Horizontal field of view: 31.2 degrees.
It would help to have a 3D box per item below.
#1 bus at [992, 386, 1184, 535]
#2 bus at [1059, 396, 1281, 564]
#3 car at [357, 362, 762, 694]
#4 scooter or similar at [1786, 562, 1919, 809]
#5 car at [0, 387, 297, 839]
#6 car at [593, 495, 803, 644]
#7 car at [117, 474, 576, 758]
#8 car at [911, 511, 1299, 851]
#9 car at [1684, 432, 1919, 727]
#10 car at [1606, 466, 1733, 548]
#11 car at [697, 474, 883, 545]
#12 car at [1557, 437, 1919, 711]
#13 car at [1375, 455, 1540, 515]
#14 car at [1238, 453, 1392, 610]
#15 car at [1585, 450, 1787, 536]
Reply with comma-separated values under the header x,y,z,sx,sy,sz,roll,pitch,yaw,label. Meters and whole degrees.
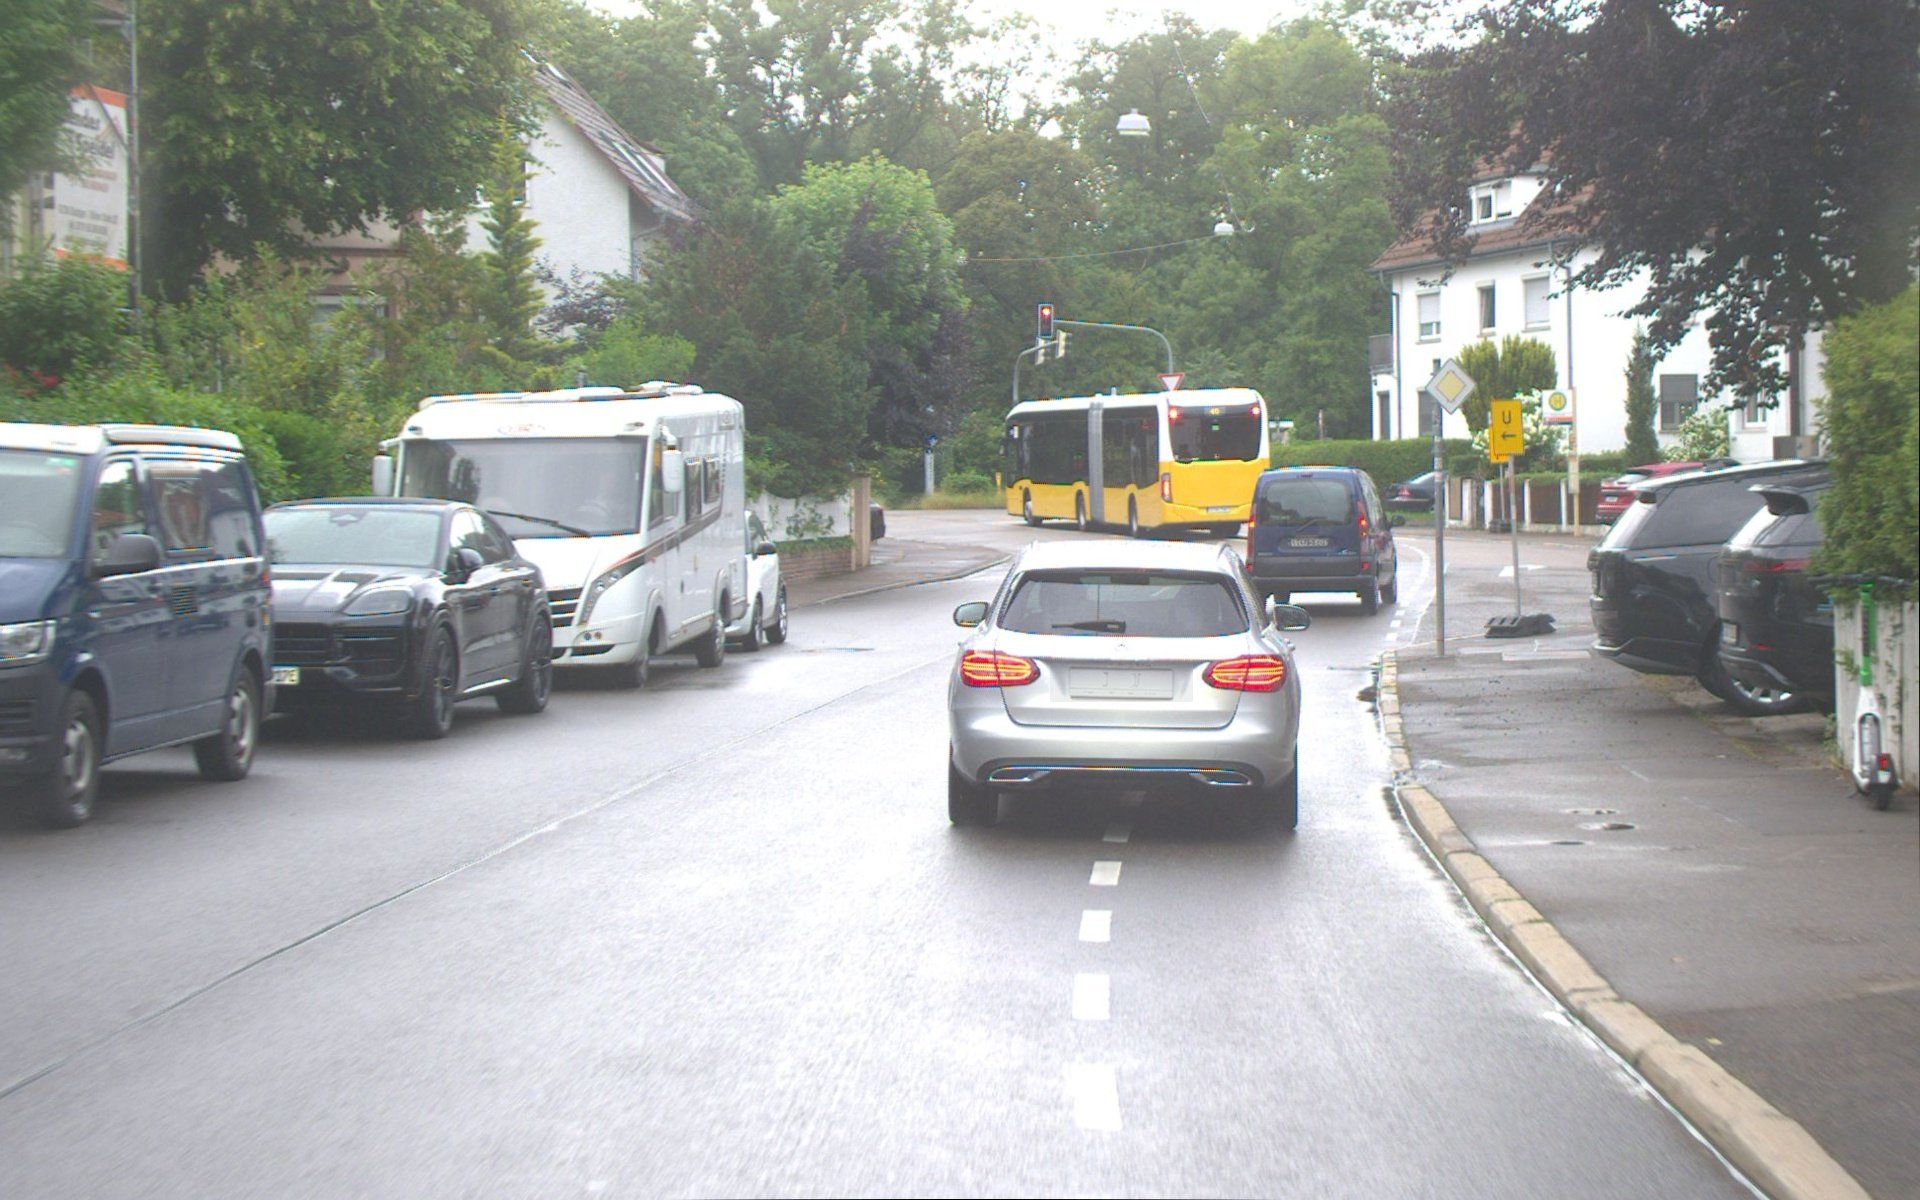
x,y,z,sx,sy,sz,roll,pitch,yaw,label
3.234,-3.783,90.541,2.927,3.638,10.307,0,4,-10,bus
4.824,-2.965,81.556,2.927,3.638,10.173,0,4,-10,bus
-3.580,-0.777,32.268,2.391,2.762,6.531,1,3,6,car
4.639,0.408,17.709,0.456,1.196,1.866,1,1,5,scooter or similar
-5.032,-0.006,18.173,1.829,2.049,5.009,1,1,3,car
-2.834,-0.371,37.825,1.713,1.442,3.254,1,4,6,car
-4.251,0.016,24.635,1.994,1.682,4.676,1,4,6,car
0.806,0.334,18.362,1.816,1.551,4.000,1,2,3,car
7.281,-0.235,22.492,4.662,1.806,2.000,-3,2,3,car
13.576,-1.793,65.908,1.205,1.446,3.023,0,4,-12,car
-3.723,-1.992,75.293,3.986,1.415,1.888,1,4,-3,car
6.967,-0.266,25.719,4.662,1.868,2.000,-3,2,3,car
13.299,-3.083,92.005,3.986,1.525,1.760,0,4,-12,car
4.514,-0.876,43.955,1.843,1.897,3.999,1,1,5,car
15.955,-2.363,75.684,3.986,1.787,1.759,1,4,-3,car
